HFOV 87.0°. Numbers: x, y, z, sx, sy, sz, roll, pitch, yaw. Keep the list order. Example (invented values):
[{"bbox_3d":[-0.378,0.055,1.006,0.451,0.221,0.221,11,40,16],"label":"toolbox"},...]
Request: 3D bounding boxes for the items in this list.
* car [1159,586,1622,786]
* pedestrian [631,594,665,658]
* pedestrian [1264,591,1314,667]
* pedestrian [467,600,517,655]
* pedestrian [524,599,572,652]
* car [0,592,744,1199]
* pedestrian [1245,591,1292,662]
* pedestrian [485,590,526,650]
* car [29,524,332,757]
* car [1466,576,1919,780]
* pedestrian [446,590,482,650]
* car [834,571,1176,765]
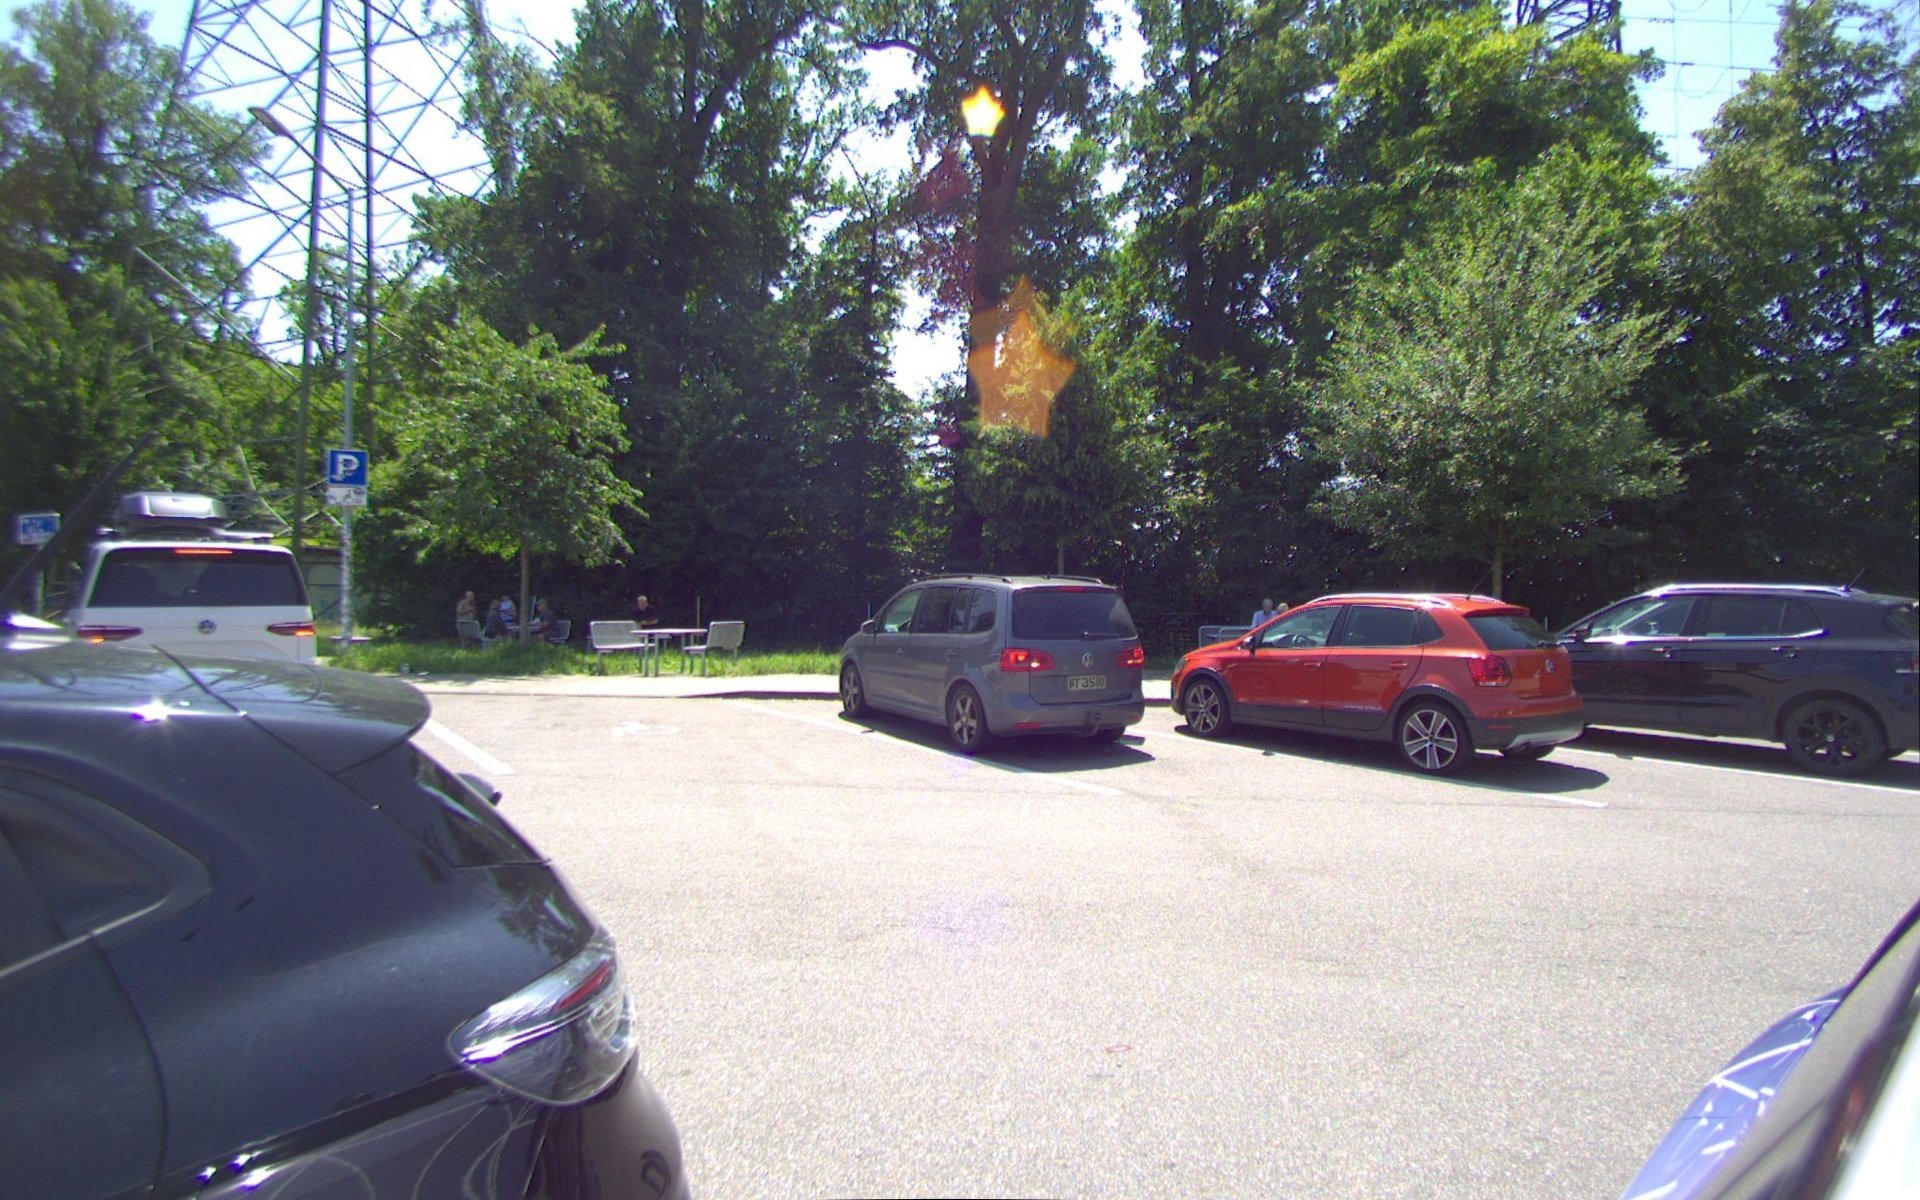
[{"bbox_3d":[3.841,0.617,9.653,1.687,1.484,3.793,0,1,-32],"label":"car"},{"bbox_3d":[-6.560,0.533,21.284,0.655,1.311,0.786,0,0,-16],"label":"pedestrian"},{"bbox_3d":[5.767,0.495,17.777,0.657,1.311,0.783,0,0,3],"label":"pedestrian"},{"bbox_3d":[-10.531,0.602,22.774,0.873,1.192,0.668,0,0,-41],"label":"pedestrian"},{"bbox_3d":[-9.616,0.589,23.628,0.873,1.192,0.668,0,0,-41],"label":"pedestrian"},{"bbox_3d":[-2.214,0.726,0.603,1.737,1.501,3.757,0,-1,44],"label":"car"},{"bbox_3d":[5.772,0.485,18.968,0.657,1.311,0.783,0,0,3],"label":"pedestrian"},{"bbox_3d":[-11.028,0.474,24.550,0.664,1.422,0.643,0,0,32],"label":"pedestrian"},{"bbox_3d":[-8.369,0.295,10.695,4.549,1.936,1.882,1,1,44],"label":"car"},{"bbox_3d":[7.168,0.581,9.713,1.690,1.593,3.787,0,1,-39],"label":"car"},{"bbox_3d":[-12.145,0.478,24.778,0.657,1.422,0.649,0,0,-39],"label":"pedestrian"},{"bbox_3d":[0.241,0.525,10.522,1.713,1.601,3.996,0,1,-29],"label":"car"}]
